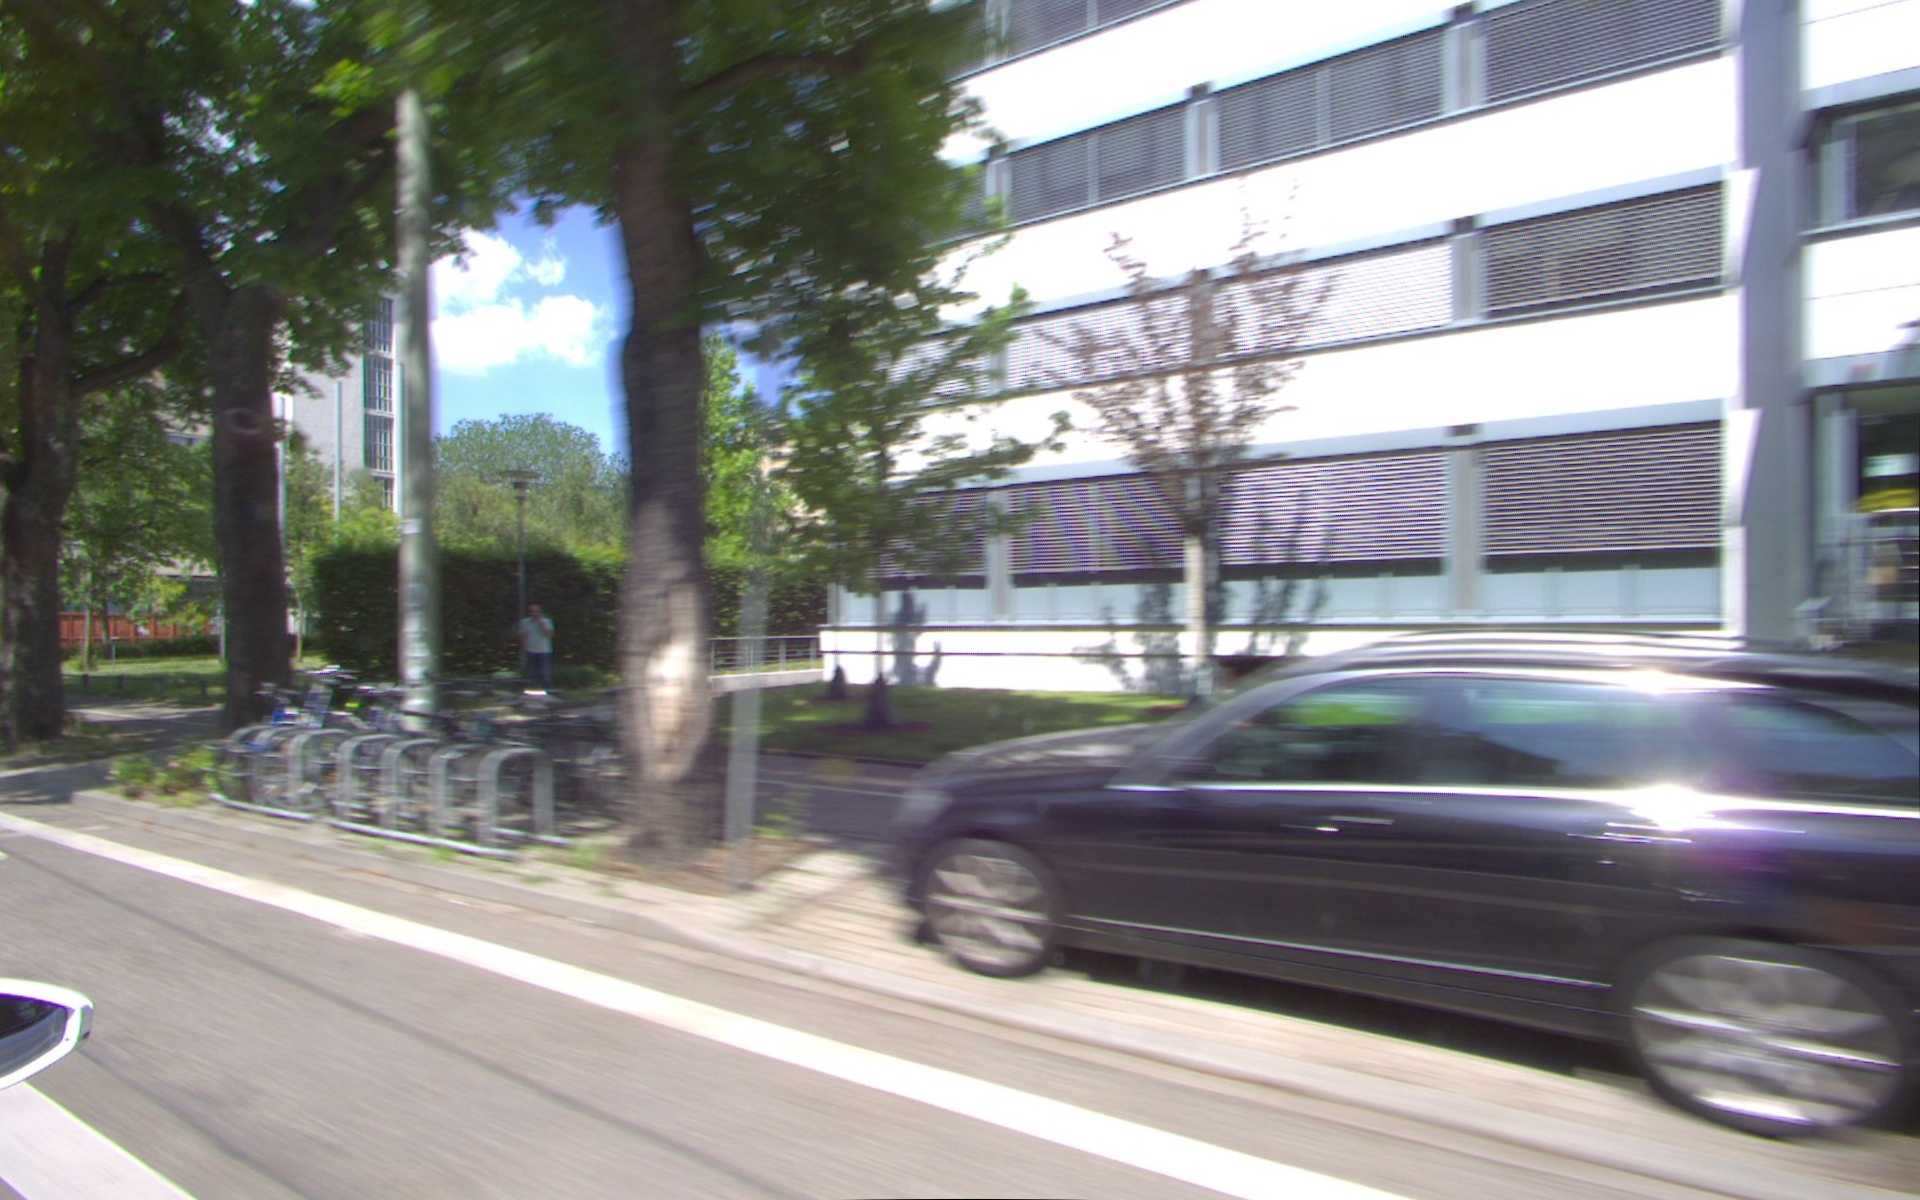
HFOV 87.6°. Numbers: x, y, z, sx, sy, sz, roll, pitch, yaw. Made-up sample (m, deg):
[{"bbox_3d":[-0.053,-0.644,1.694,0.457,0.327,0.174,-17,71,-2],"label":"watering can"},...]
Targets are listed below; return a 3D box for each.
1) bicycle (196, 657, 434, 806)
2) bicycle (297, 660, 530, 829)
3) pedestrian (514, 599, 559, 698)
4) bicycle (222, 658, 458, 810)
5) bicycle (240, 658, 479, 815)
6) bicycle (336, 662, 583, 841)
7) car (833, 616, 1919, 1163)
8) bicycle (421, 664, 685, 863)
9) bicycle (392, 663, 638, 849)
[{"bbox_3d":[-5.773,1.126,9.089,0.442,1.126,1.805,-1,0,29],"label":"bicycle"},{"bbox_3d":[-4.366,1.099,8.171,0.481,1.126,1.810,-1,0,19],"label":"bicycle"},{"bbox_3d":[-7.752,0.877,18.340,0.616,1.772,0.656,-1,0,-13],"label":"pedestrian"},{"bbox_3d":[-5.410,1.120,8.870,0.389,1.126,1.805,-1,0,29],"label":"bicycle"},{"bbox_3d":[-5.092,1.107,8.634,0.389,1.126,1.805,-1,0,29],"label":"bicycle"},{"bbox_3d":[-3.819,1.100,7.824,0.524,1.126,1.808,-1,0,23],"label":"bicycle"},{"bbox_3d":[1.770,0.835,4.301,4.567,1.486,1.673,-1,0,32],"label":"car"},{"bbox_3d":[-2.796,1.068,7.097,0.506,1.126,1.806,-1,0,29],"label":"bicycle"},{"bbox_3d":[-3.268,1.089,7.555,0.527,1.126,1.808,-1,0,23],"label":"bicycle"}]
